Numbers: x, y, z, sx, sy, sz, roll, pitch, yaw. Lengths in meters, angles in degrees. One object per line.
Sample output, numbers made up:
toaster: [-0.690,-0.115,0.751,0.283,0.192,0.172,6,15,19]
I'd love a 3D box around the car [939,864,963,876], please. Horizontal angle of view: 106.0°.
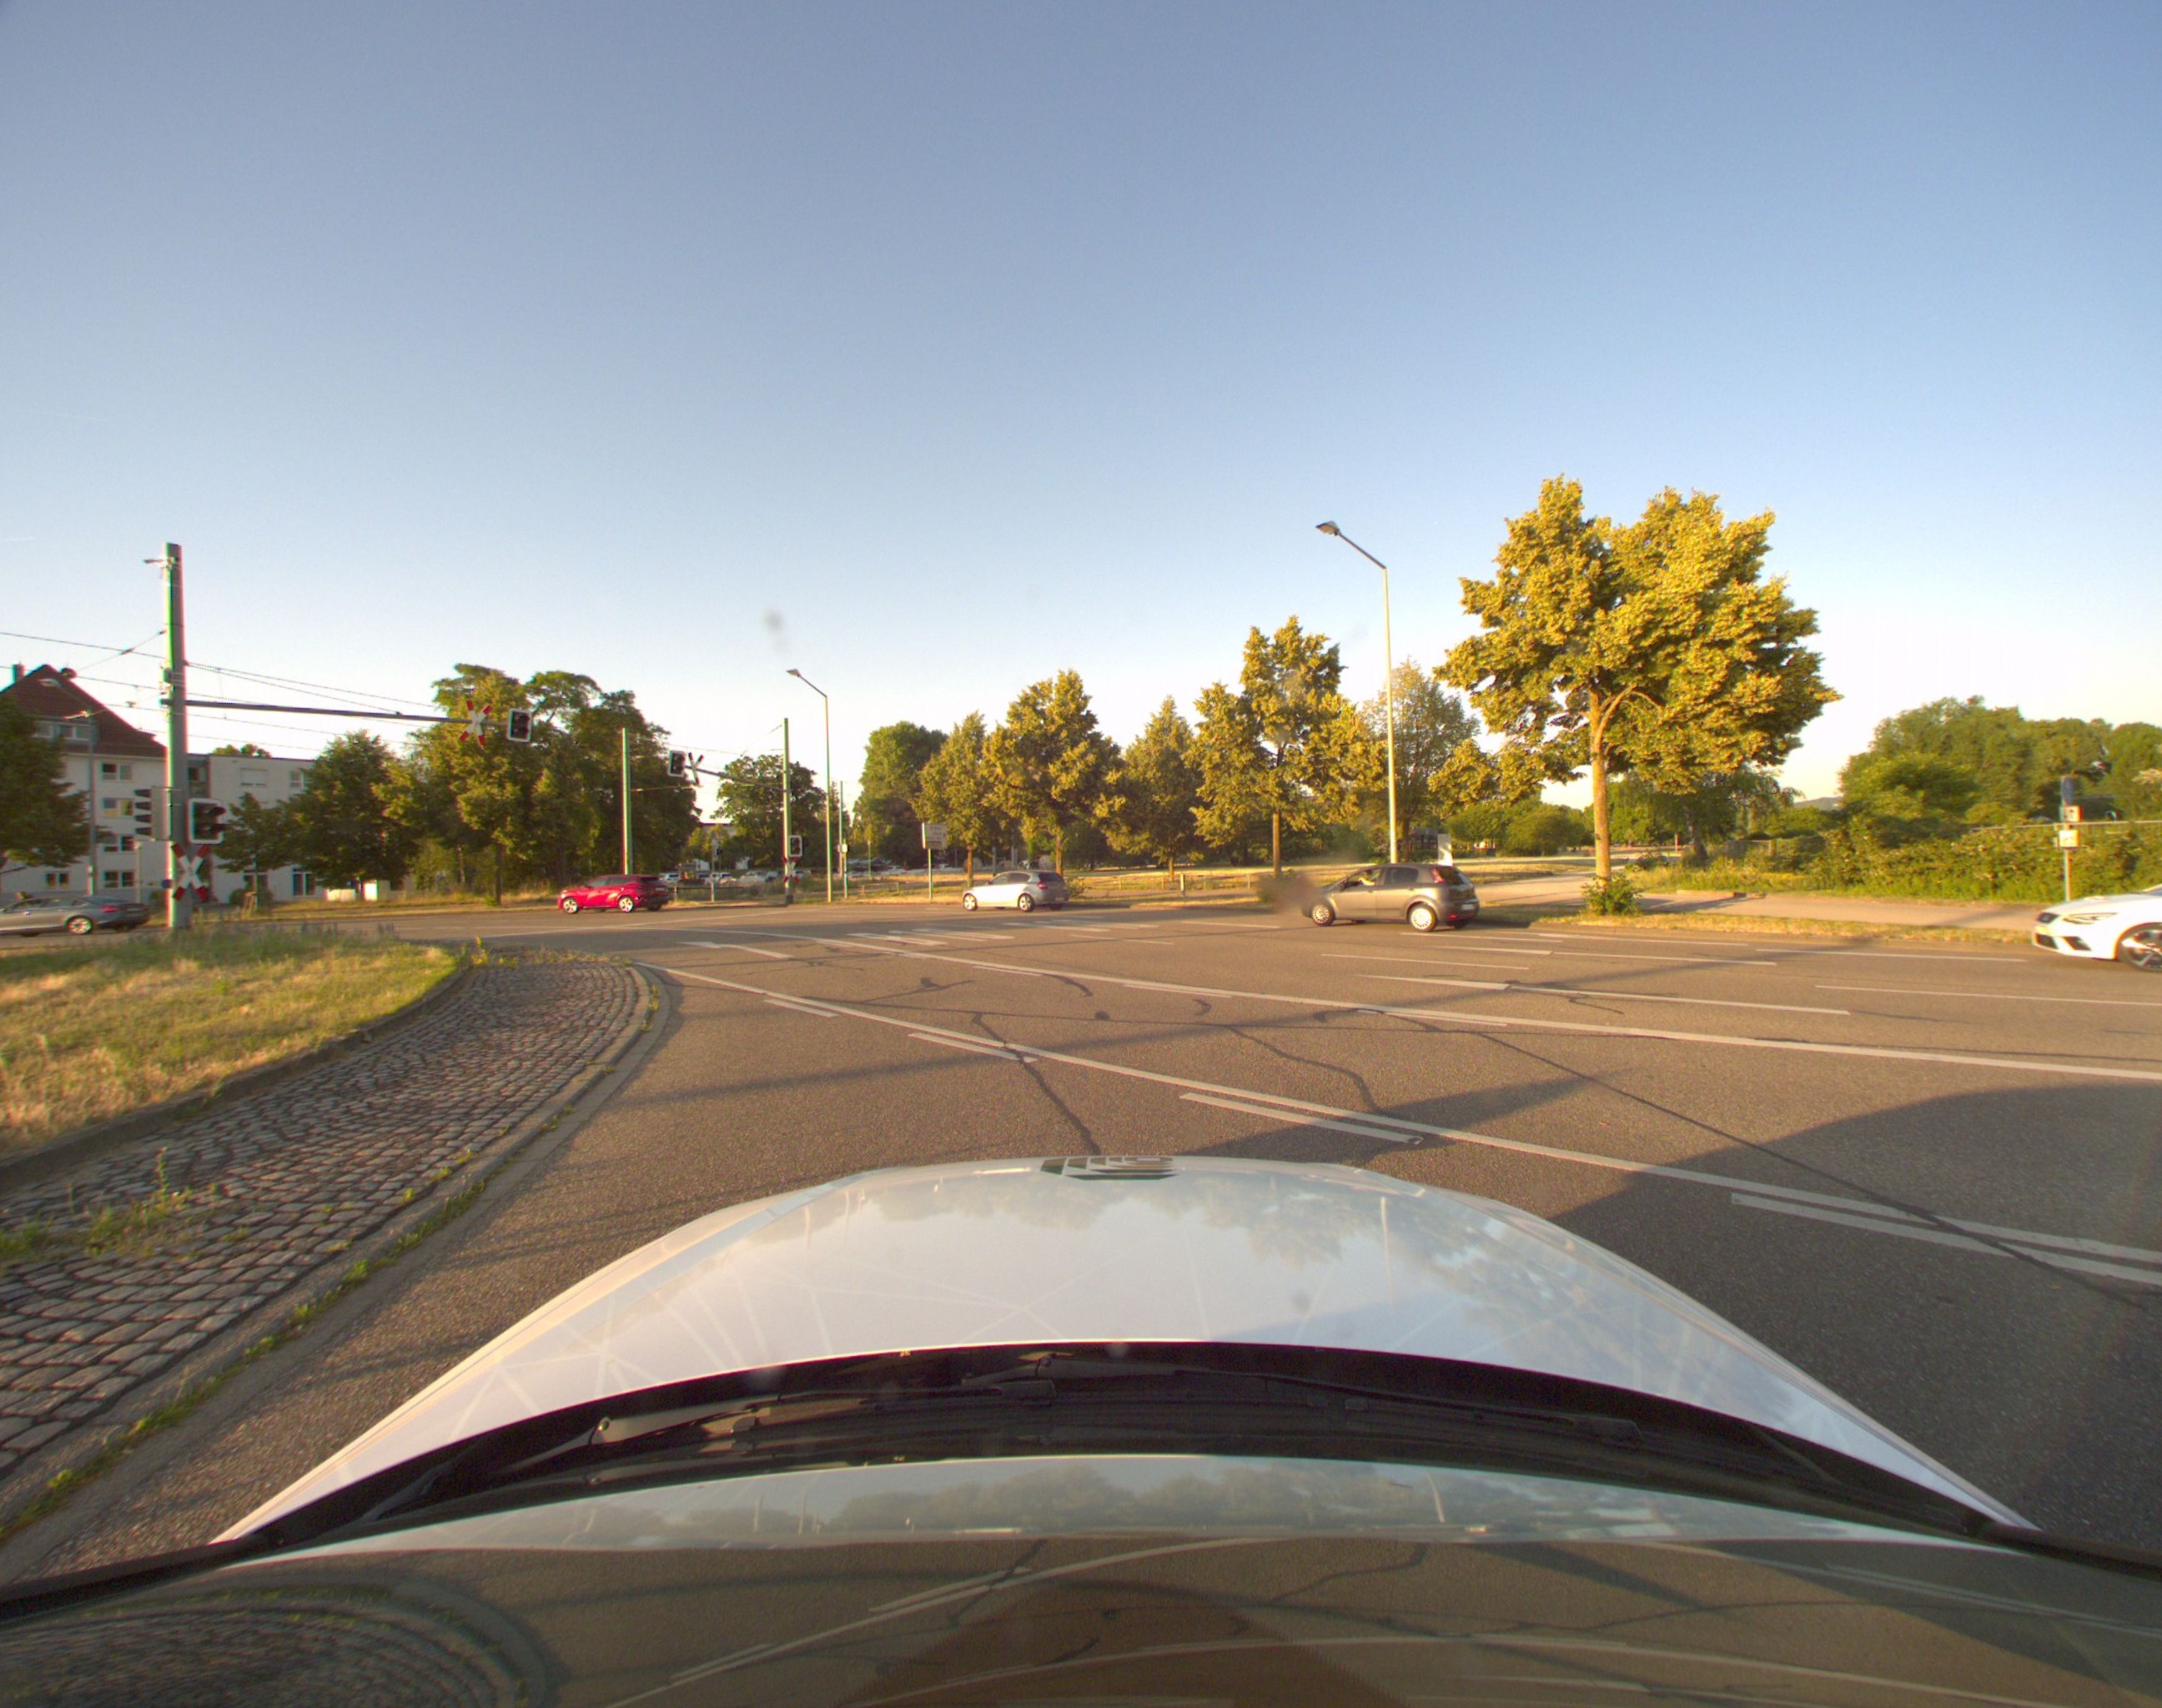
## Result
car: [-20.810,2.540,130.006,2.008,1.752,4.549,-1,1,-35]

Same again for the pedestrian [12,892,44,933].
pedestrian: [-50.443,2.800,39.010,0.666,1.893,0.619,0,-1,-4]

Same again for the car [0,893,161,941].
car: [-37.104,2.277,29.481,4.667,1.464,1.876,-2,0,-17]

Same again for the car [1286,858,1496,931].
car: [7.007,0.867,18.760,1.877,1.454,4.115,-1,0,-38]

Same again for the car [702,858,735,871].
car: [-61.894,1.806,139.085,1.974,2.013,4.628,-2,0,36]

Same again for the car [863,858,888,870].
car: [-37.927,1.793,150.062,1.975,2.013,4.025,-2,0,42]

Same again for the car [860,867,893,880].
car: [-26.644,2.495,106.005,3.948,1.604,2.013,-2,0,34]

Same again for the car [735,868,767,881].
car: [-46.201,2.798,113.964,4.005,1.662,1.984,-2,0,-24]

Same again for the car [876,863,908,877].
car: [-29.348,2.427,126.718,4.578,2.013,1.995,-2,0,-7]

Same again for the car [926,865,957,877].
car: [-19.964,2.383,116.498,3.948,1.604,2.013,-2,0,34]

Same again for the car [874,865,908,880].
car: [-27.635,2.696,118.649,4.578,2.013,1.995,-2,0,-7]

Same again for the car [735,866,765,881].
car: [-48.111,2.794,118.415,4.006,2.013,1.984,-2,0,-24]

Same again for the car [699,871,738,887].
car: [-38.997,2.696,87.561,3.948,1.604,2.013,-2,0,34]

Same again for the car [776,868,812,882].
car: [-33.674,2.460,95.449,3.948,1.604,2.013,-2,0,34]

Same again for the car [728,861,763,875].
car: [-51.853,2.138,125.824,1.974,2.013,4.627,-2,0,32]

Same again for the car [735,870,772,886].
car: [-37.026,2.718,92.080,3.948,1.604,2.013,-2,0,34]

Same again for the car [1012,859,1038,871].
car: [-7.927,1.533,115.278,1.748,1.618,3.954,-1,0,-39]

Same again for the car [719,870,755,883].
car: [-46.086,3.028,109.165,1.878,1.662,4.026,-2,0,37]

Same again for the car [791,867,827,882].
car: [-32.608,2.470,97.628,3.948,1.604,2.013,-2,0,34]

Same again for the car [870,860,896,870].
car: [-35.651,1.903,146.456,3.964,1.706,2.005,-2,0,8]

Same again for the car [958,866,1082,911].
car: [-2.162,1.162,28.326,4.109,1.390,1.880,-2,0,39]

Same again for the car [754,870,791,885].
car: [-35.482,2.720,93.690,3.948,1.604,2.013,-2,0,34]

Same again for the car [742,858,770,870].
car: [-57.805,1.822,144.955,1.974,2.013,4.143,-2,0,36]

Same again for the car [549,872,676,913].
car: [-20.138,1.659,35.100,4.375,1.573,2.005,-2,0,9]

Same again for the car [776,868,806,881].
car: [-41.271,2.896,116.015,4.001,1.662,1.889,-2,0,-20]

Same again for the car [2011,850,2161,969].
car: [15.080,0.681,10.380,3.920,1.454,1.880,-2,0,37]

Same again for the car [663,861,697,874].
car: [-65.633,2.251,133.347,1.974,2.013,4.627,-2,0,32]

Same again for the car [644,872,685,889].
car: [-42.628,2.688,83.344,3.948,1.604,2.013,-2,0,34]

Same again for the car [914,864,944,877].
car: [-21.439,2.327,114.804,3.948,1.604,2.013,-2,0,34]

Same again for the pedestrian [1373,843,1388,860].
pedestrian: [28.904,-0.217,78.558,1.064,1.617,0.911,-2,0,4]

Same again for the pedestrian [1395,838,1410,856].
pedestrian: [30.784,-0.677,78.027,1.064,1.617,0.911,-2,0,4]

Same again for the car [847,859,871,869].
car: [-41.715,1.903,153.041,1.974,1.816,4.026,-2,0,37]
